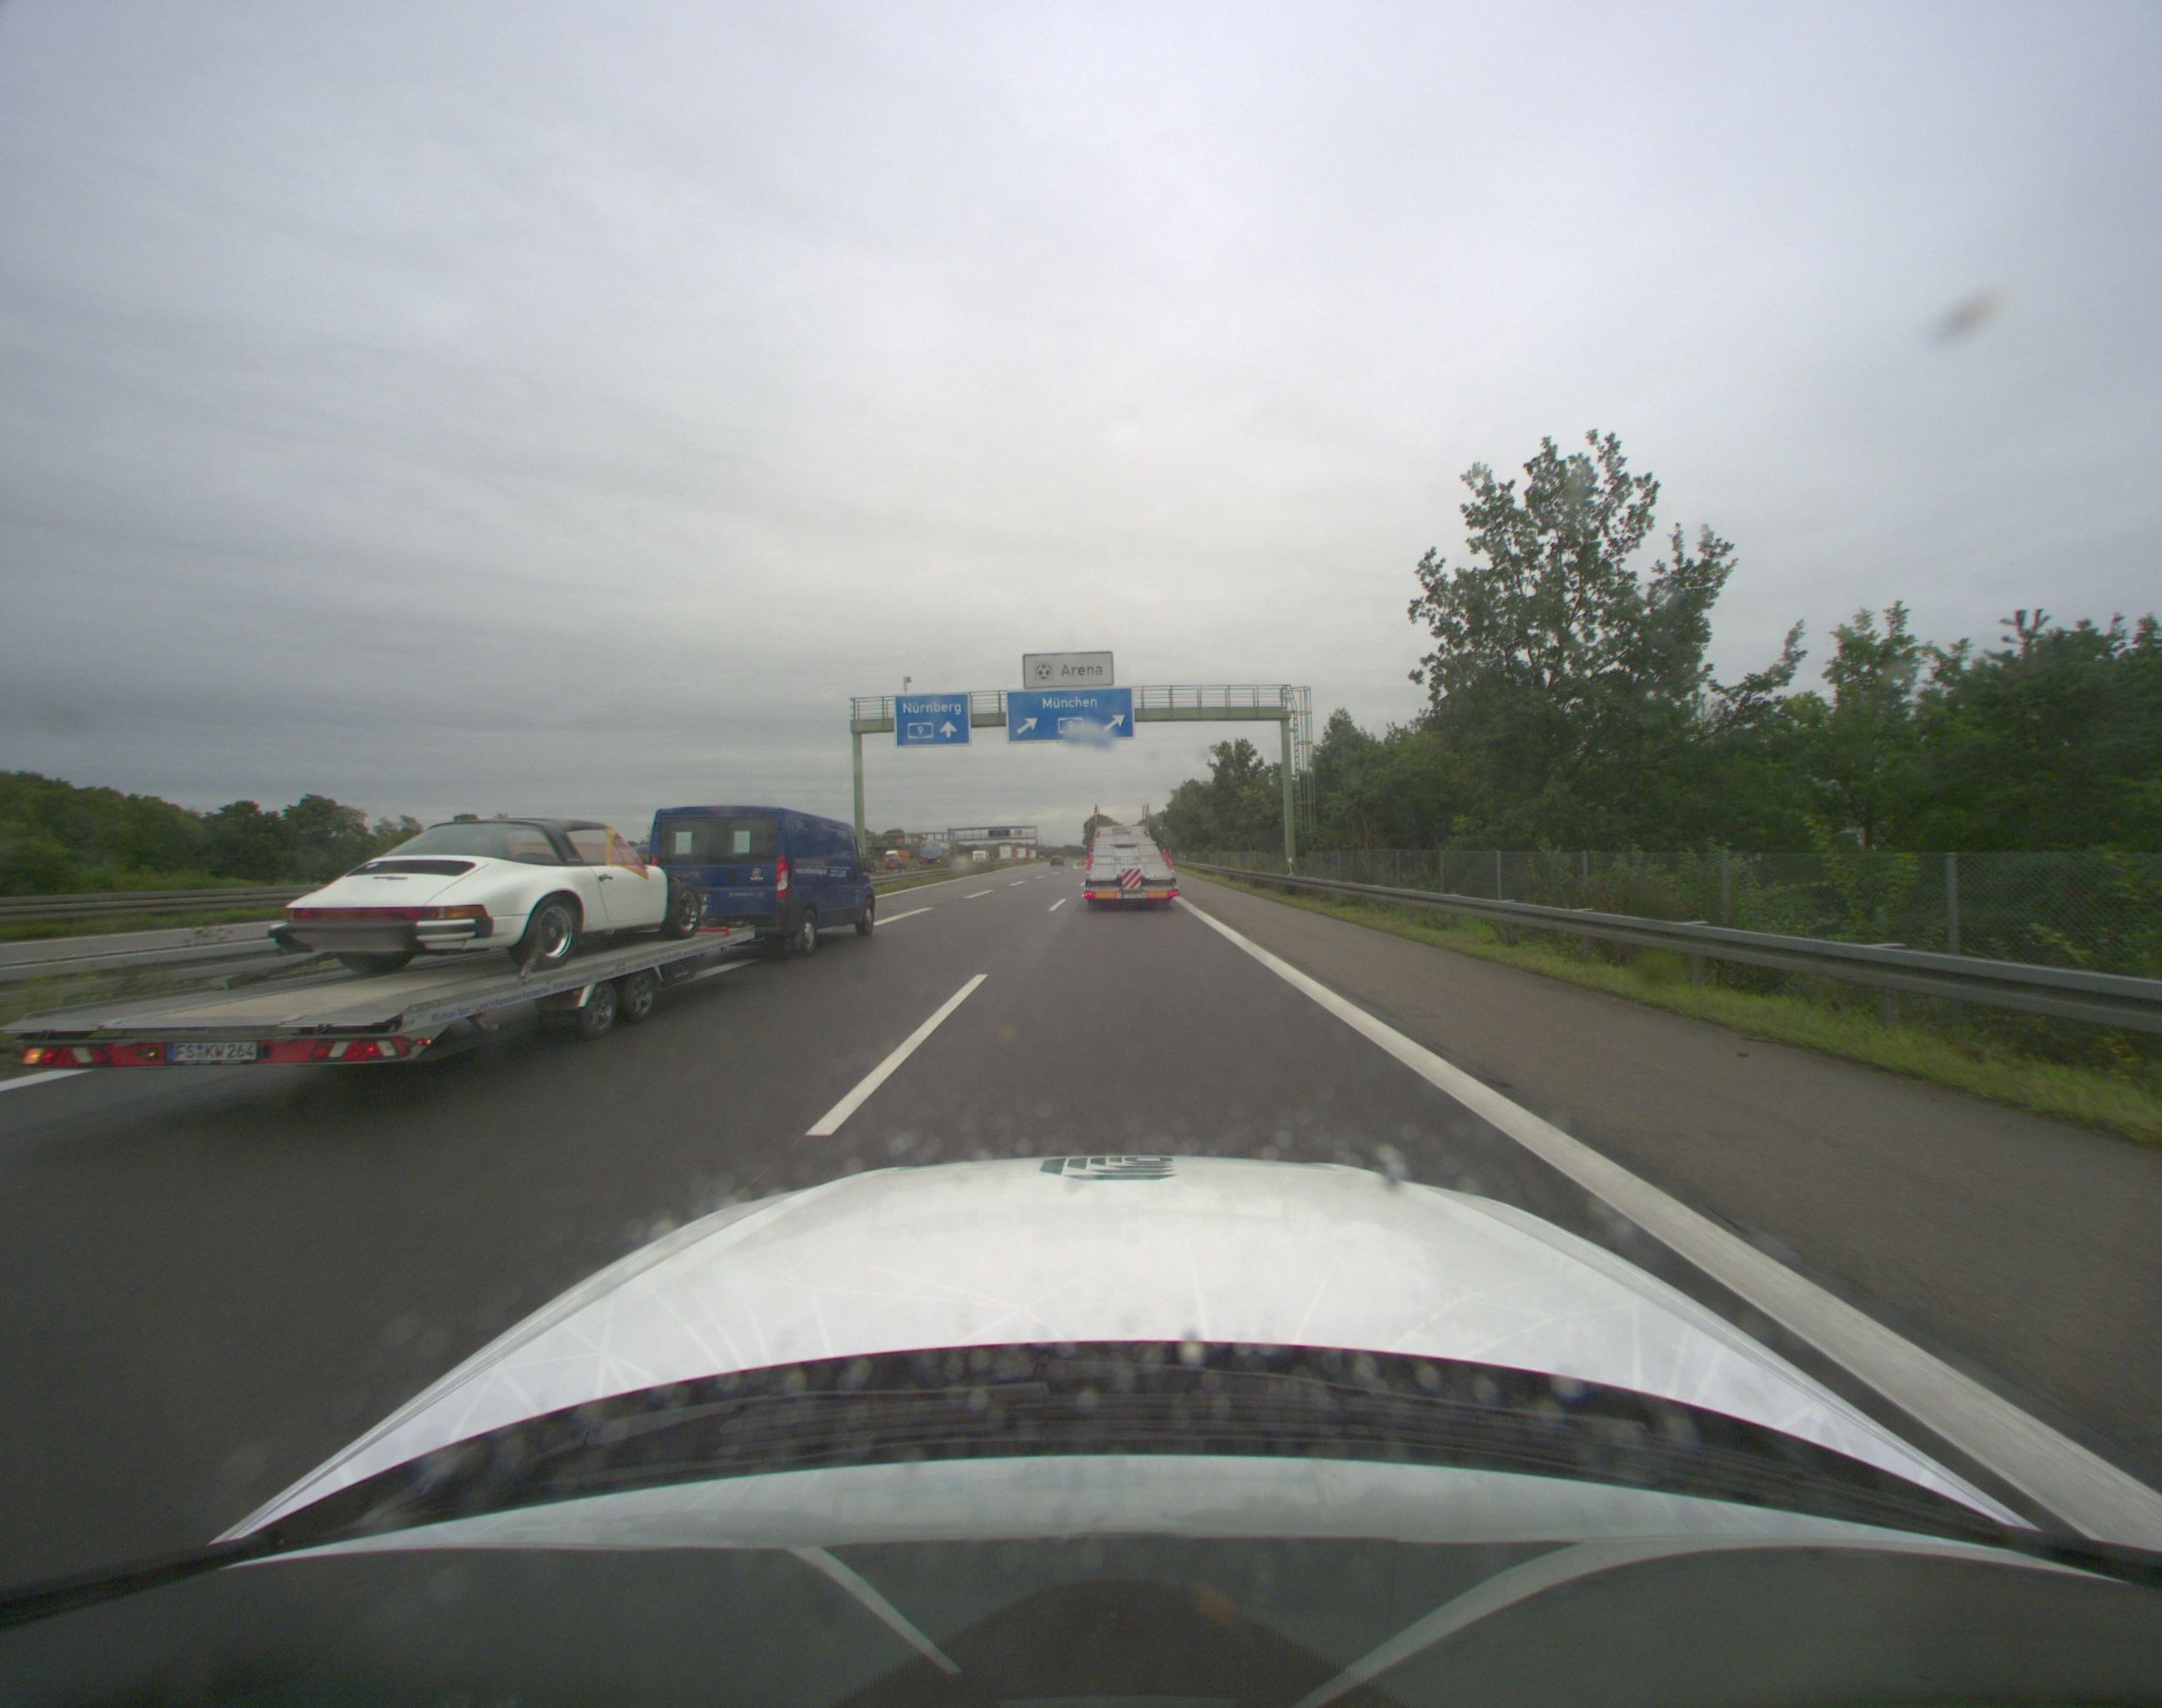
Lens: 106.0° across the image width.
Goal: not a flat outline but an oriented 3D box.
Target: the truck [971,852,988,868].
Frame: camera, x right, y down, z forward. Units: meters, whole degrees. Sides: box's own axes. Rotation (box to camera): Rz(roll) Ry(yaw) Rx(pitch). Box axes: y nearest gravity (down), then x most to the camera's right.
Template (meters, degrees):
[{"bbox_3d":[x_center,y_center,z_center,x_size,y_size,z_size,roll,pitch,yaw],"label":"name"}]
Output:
[{"bbox_3d":[-17.202,0.947,138.725,2.236,2.704,5.278,0,0,0],"label":"truck"}]

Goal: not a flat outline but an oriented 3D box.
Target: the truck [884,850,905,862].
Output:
[{"bbox_3d":[-43.377,0.453,189.658,2.704,2.629,9.813,2,0,-1],"label":"truck"}]

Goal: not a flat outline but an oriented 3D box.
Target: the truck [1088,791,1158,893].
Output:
[{"bbox_3d":[1.776,-0.483,36.543,2.728,3.967,9.132,0,0,2],"label":"truck"}]

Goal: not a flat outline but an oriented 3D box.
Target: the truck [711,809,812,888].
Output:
[{"bbox_3d":[-16.701,-0.231,43.140,2.631,3.812,7.337,0,-1,-2],"label":"truck"}]

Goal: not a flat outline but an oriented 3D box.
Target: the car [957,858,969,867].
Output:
[{"bbox_3d":[-21.014,1.488,145.048,1.678,1.530,3.996,0,0,-2],"label":"car"}]

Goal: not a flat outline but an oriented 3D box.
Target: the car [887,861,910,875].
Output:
[{"bbox_3d":[-20.936,1.595,93.674,1.789,1.557,3.826,0,-1,0],"label":"car"}]

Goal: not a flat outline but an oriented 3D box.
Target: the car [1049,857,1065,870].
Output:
[{"bbox_3d":[-3.122,1.243,108.217,1.955,1.637,5.624,0,-1,0],"label":"car"}]

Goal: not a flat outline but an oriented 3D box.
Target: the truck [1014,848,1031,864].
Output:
[{"bbox_3d":[-16.664,0.462,232.893,3.721,4.417,11.895,0,0,0],"label":"truck"}]

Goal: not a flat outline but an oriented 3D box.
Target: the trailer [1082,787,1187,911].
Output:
[{"bbox_3d":[1.530,-0.133,26.815,2.768,3.285,10.408,0,0,1],"label":"trailer"}]

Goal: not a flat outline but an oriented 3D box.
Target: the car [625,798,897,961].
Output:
[{"bbox_3d":[-5.152,0.366,14.460,2.365,2.266,6.255,0,0,0],"label":"car"}]

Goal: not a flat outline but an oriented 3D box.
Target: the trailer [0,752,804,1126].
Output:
[{"bbox_3d":[-5.122,0.466,7.886,2.477,1.994,7.061,0,0,0],"label":"trailer"}]

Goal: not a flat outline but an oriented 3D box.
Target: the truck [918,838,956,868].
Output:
[{"bbox_3d":[-16.705,-0.077,94.932,2.847,3.365,8.630,-1,0,0],"label":"truck"}]

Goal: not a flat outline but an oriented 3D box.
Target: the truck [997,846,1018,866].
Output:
[{"bbox_3d":[-16.730,0.426,186.595,3.721,4.417,10.194,0,0,0],"label":"truck"}]
